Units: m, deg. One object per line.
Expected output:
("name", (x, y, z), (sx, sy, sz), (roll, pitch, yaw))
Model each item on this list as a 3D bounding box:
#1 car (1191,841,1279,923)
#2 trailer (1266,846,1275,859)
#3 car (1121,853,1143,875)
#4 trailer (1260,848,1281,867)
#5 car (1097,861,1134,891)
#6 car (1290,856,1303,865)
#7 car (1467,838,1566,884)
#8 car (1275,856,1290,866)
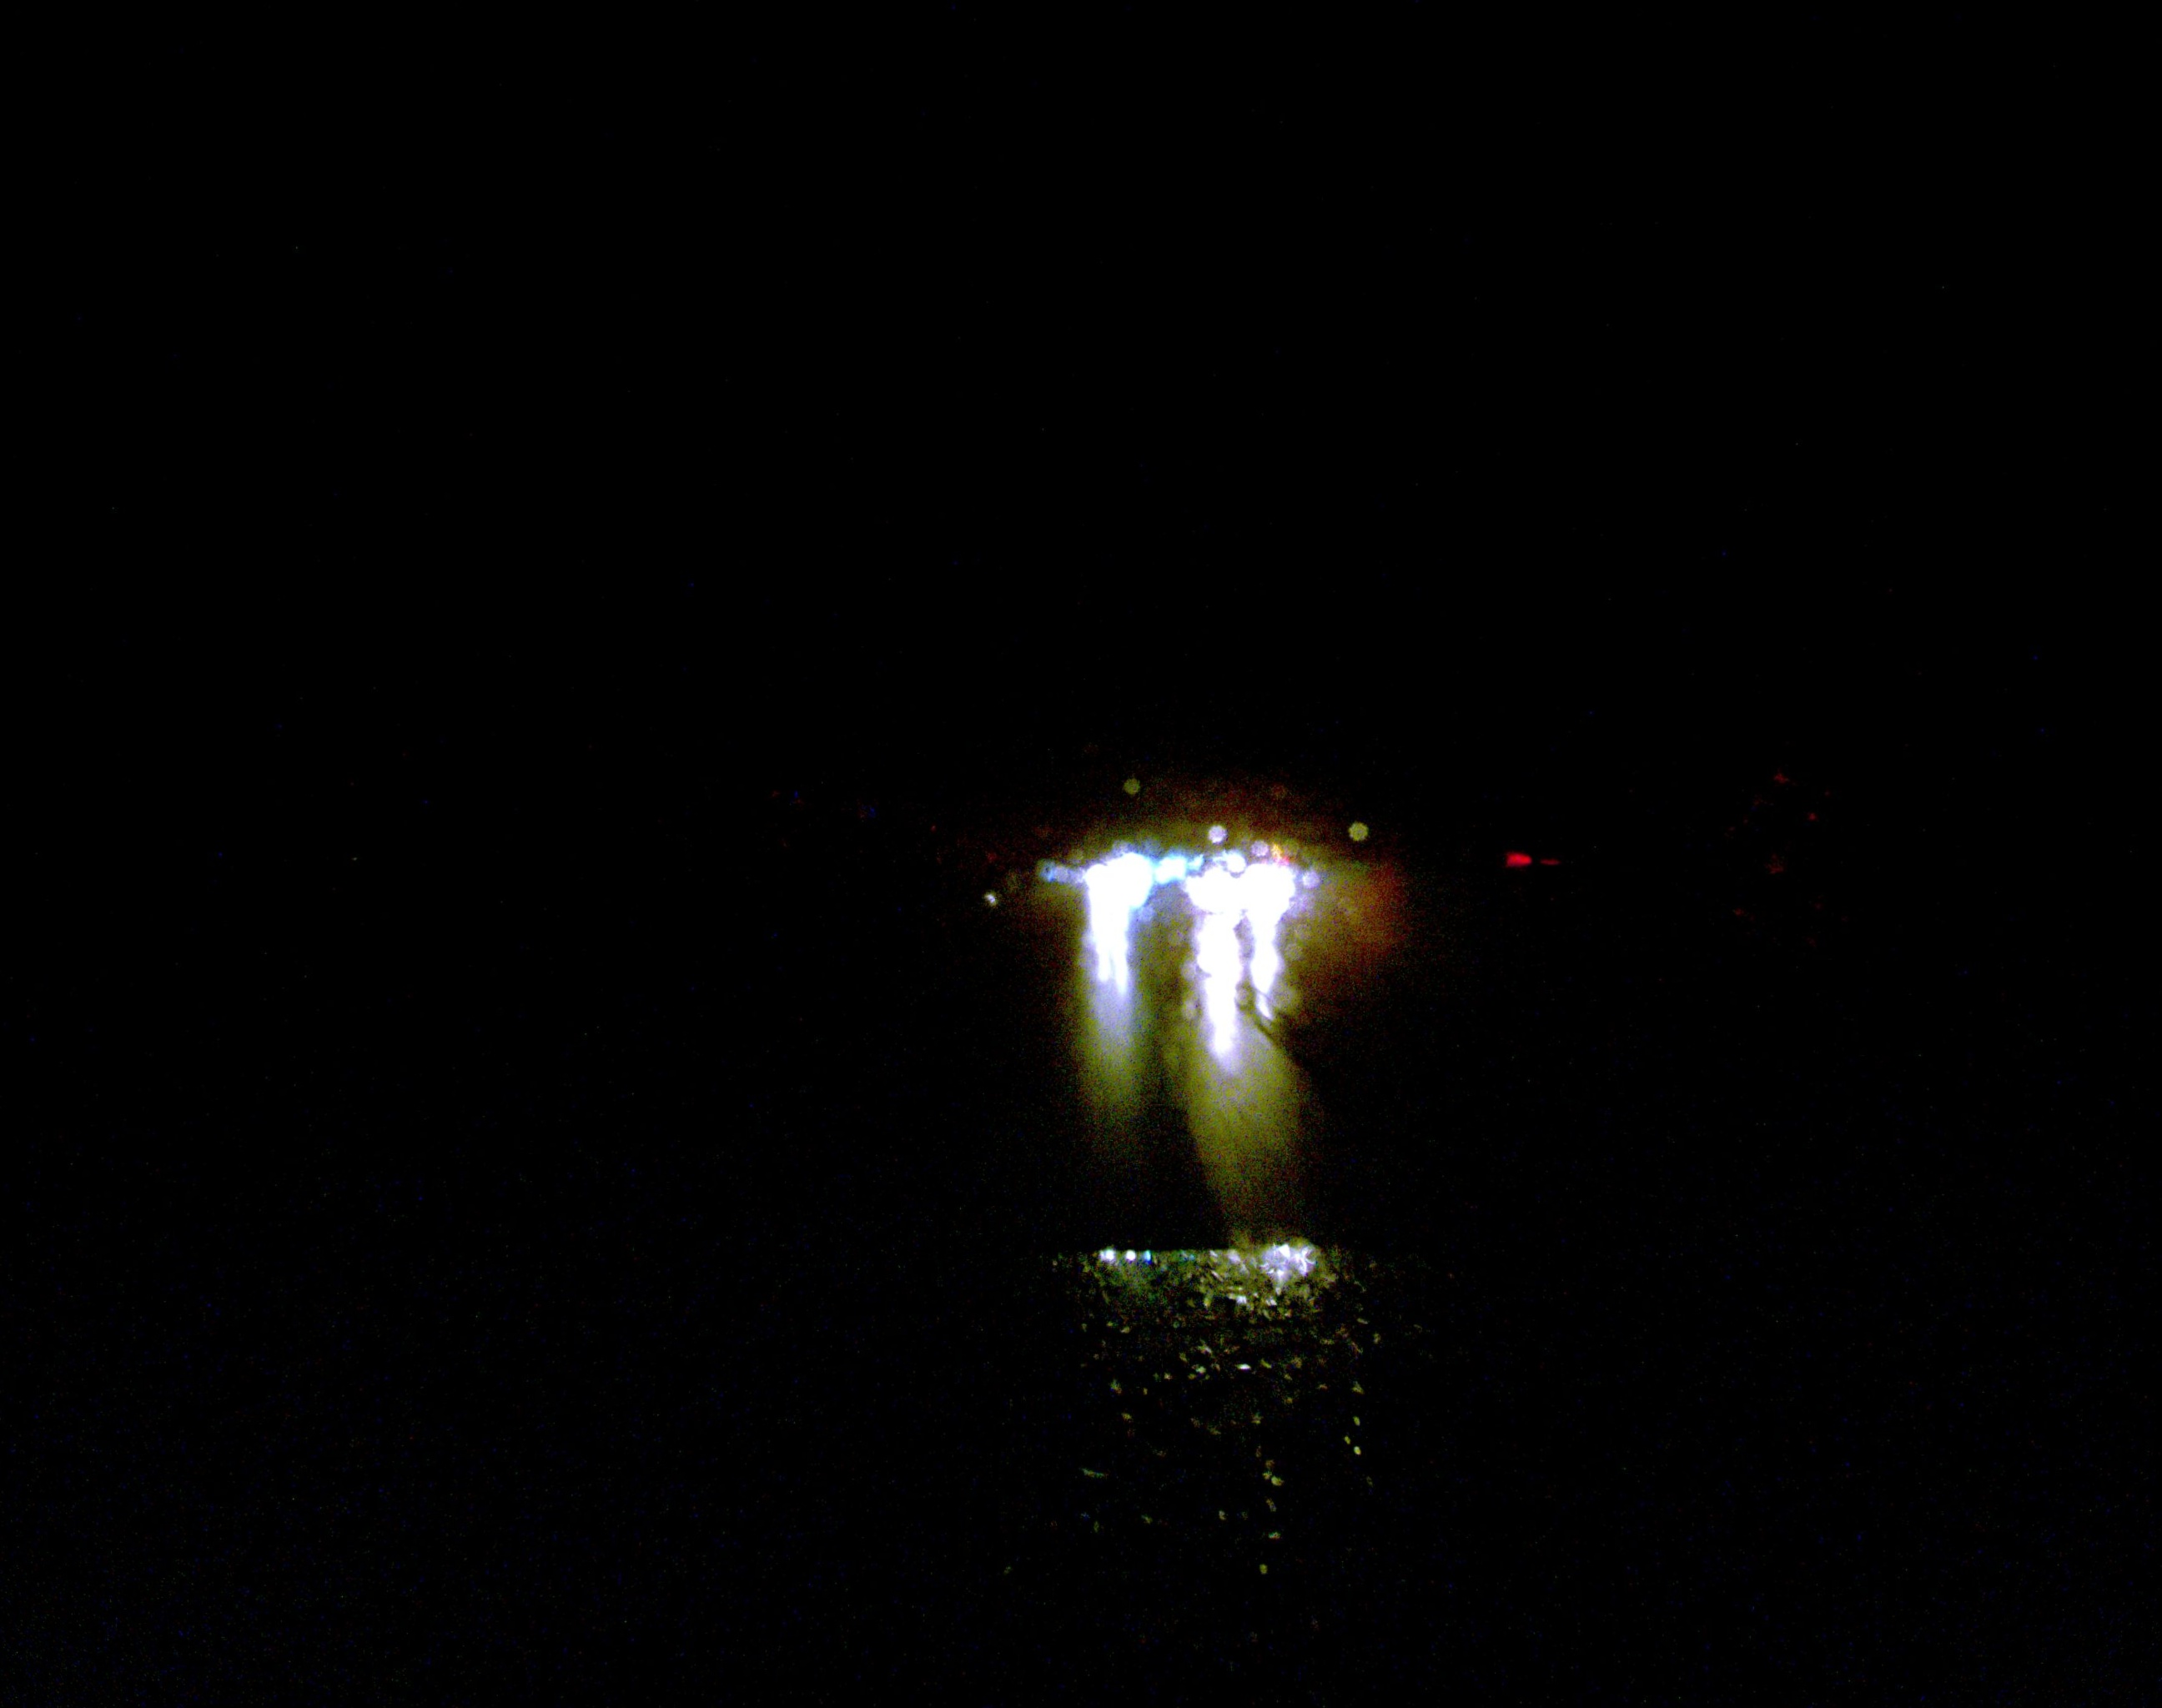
("car", (4.292, 0.725, 21.810), (1.754, 2.092, 4.464), (0, 0, 2))
("trailer", (65.620, -0.528, 262.627), (2.579, 4.431, 12.505), (-1, 1, 15))
("car", (5.112, 1.001, 76.656), (1.998, 2.001, 4.001), (-2, 0, 2))
("trailer", (36.818, 0.567, 147.920), (2.614, 3.452, 10.451), (-1, 1, 7))
("car", (2.085, 1.258, 44.824), (1.891, 1.602, 4.001), (-1, 1, 7))
("car", (41.665, 1.285, 147.047), (1.834, 1.703, 4.002), (-1, 1, 8))
("car", (20.463, 0.273, 35.980), (1.998, 2.002, 4.810), (-1, 1, 1))
("car", (30.466, 1.075, 114.891), (1.607, 1.335, 3.243), (-2, 1, 5))
